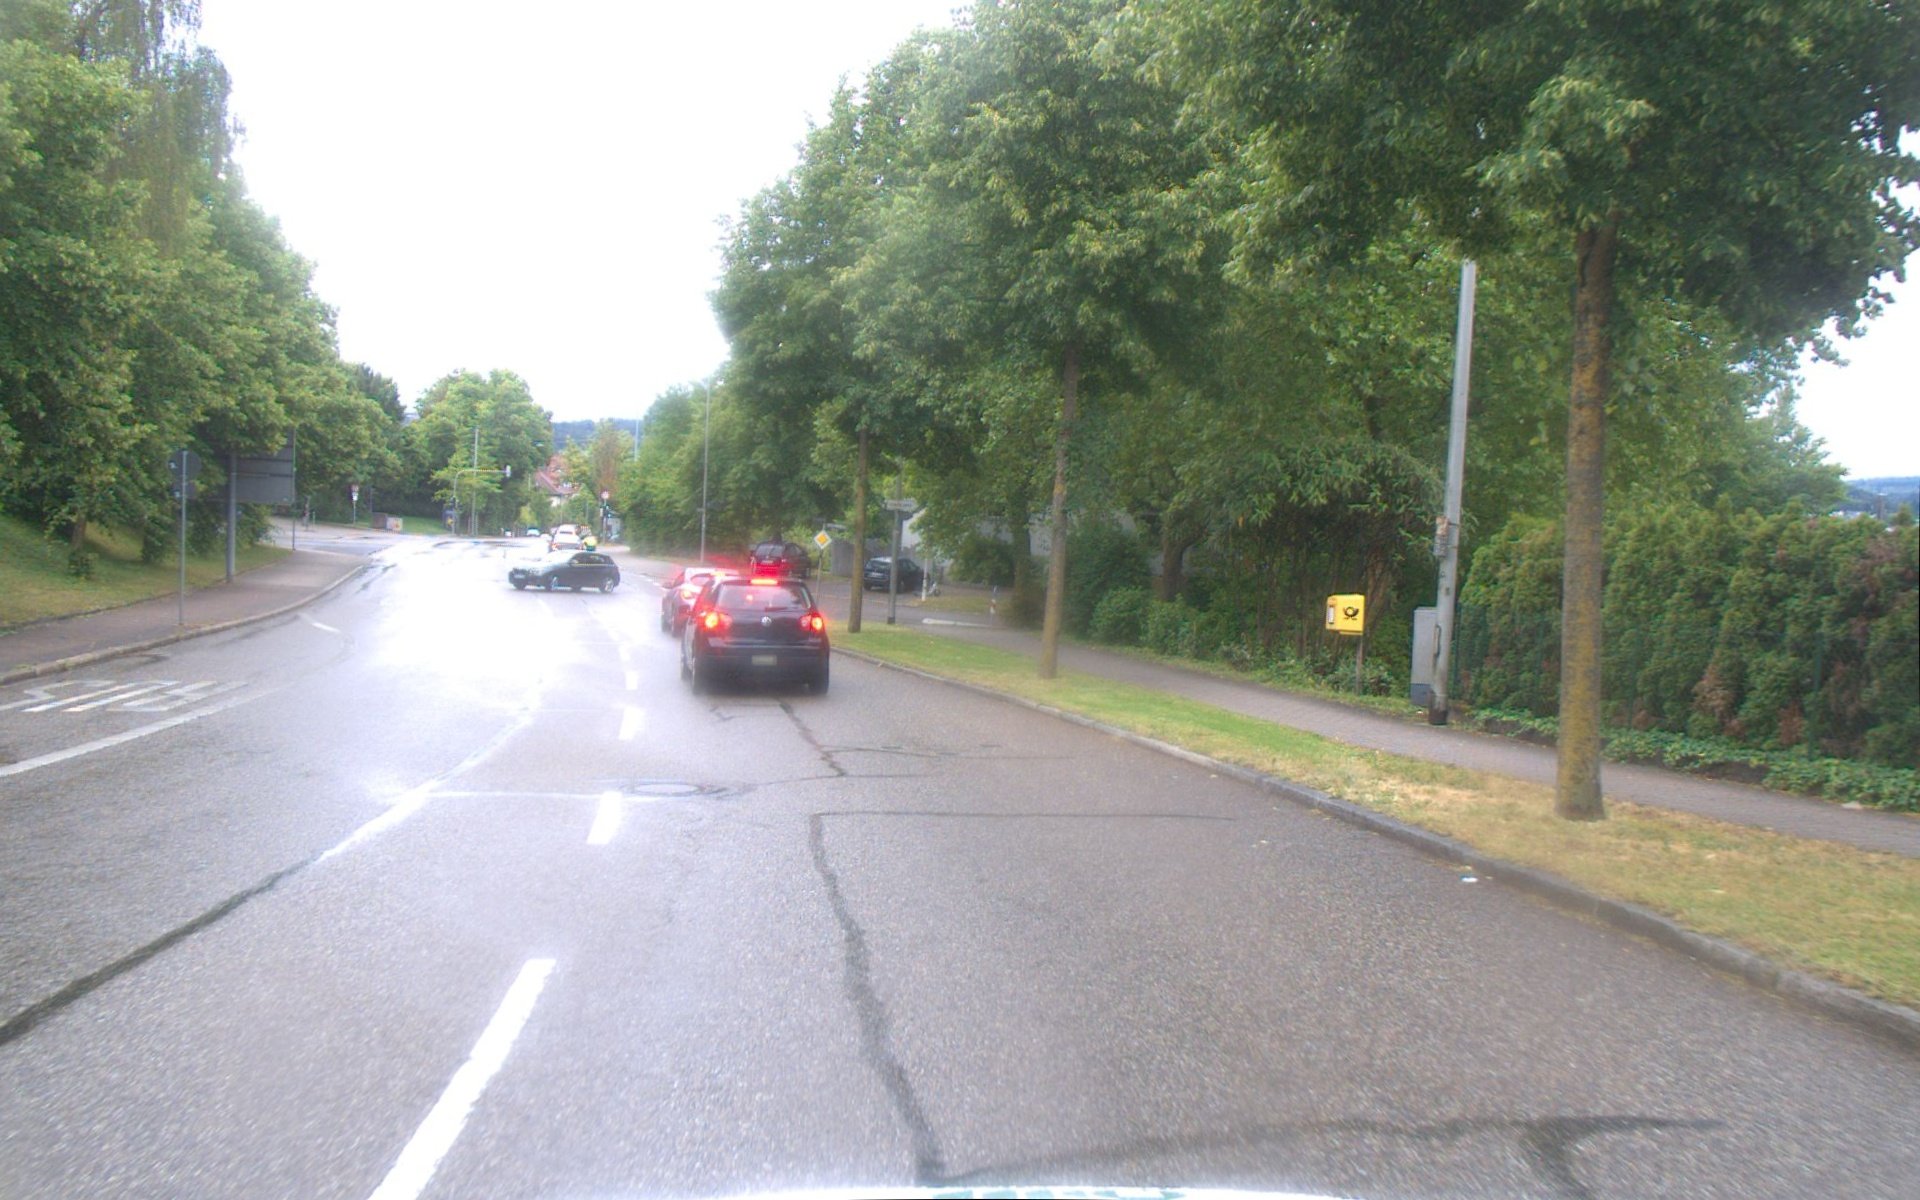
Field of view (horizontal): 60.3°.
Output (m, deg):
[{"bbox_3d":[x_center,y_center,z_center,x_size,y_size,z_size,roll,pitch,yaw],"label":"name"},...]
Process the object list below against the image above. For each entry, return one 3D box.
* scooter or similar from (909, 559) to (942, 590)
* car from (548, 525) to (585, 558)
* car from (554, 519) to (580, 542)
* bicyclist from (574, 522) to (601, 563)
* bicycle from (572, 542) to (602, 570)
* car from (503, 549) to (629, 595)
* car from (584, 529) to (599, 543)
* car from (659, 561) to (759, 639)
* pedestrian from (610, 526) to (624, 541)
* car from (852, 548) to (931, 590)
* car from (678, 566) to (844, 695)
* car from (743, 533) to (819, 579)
[{"bbox_3d":[-1.502,-1.095,71.638,1.316,1.307,0.558,1,2,-22],"label":"scooter or similar"},{"bbox_3d":[-20.367,-3.035,85.739,1.693,1.488,3.987,6,1,-14],"label":"car"},{"bbox_3d":[-28.879,-5.114,121.612,1.693,1.488,3.987,6,1,-14],"label":"car"},{"bbox_3d":[-16.703,-2.590,74.100,0.841,1.786,1.275,2,1,-26],"label":"bicyclist"},{"bbox_3d":[-16.730,-1.970,74.121,0.841,1.175,2.022,2,1,-26],"label":"bicycle"},{"bbox_3d":[-13.774,-0.967,57.966,1.694,1.407,4.120,3,0,38],"label":"car"},{"bbox_3d":[-44.504,-7.783,199.708,1.693,1.488,3.987,6,1,-14],"label":"car"},{"bbox_3d":[-5.554,-0.039,36.245,1.725,1.489,3.985,2,2,-15],"label":"car"},{"bbox_3d":[-31.487,-6.093,151.848,1.053,1.379,0.917,2,2,-6],"label":"pedestrian"},{"bbox_3d":[-3.010,-1.413,73.588,1.716,1.494,4.567,6,5,21],"label":"car"},{"bbox_3d":[-2.727,0.346,21.921,1.692,1.489,3.987,3,0,-13],"label":"car"},{"bbox_3d":[-8.063,-2.032,74.995,1.907,1.717,4.910,5,5,12],"label":"car"}]
